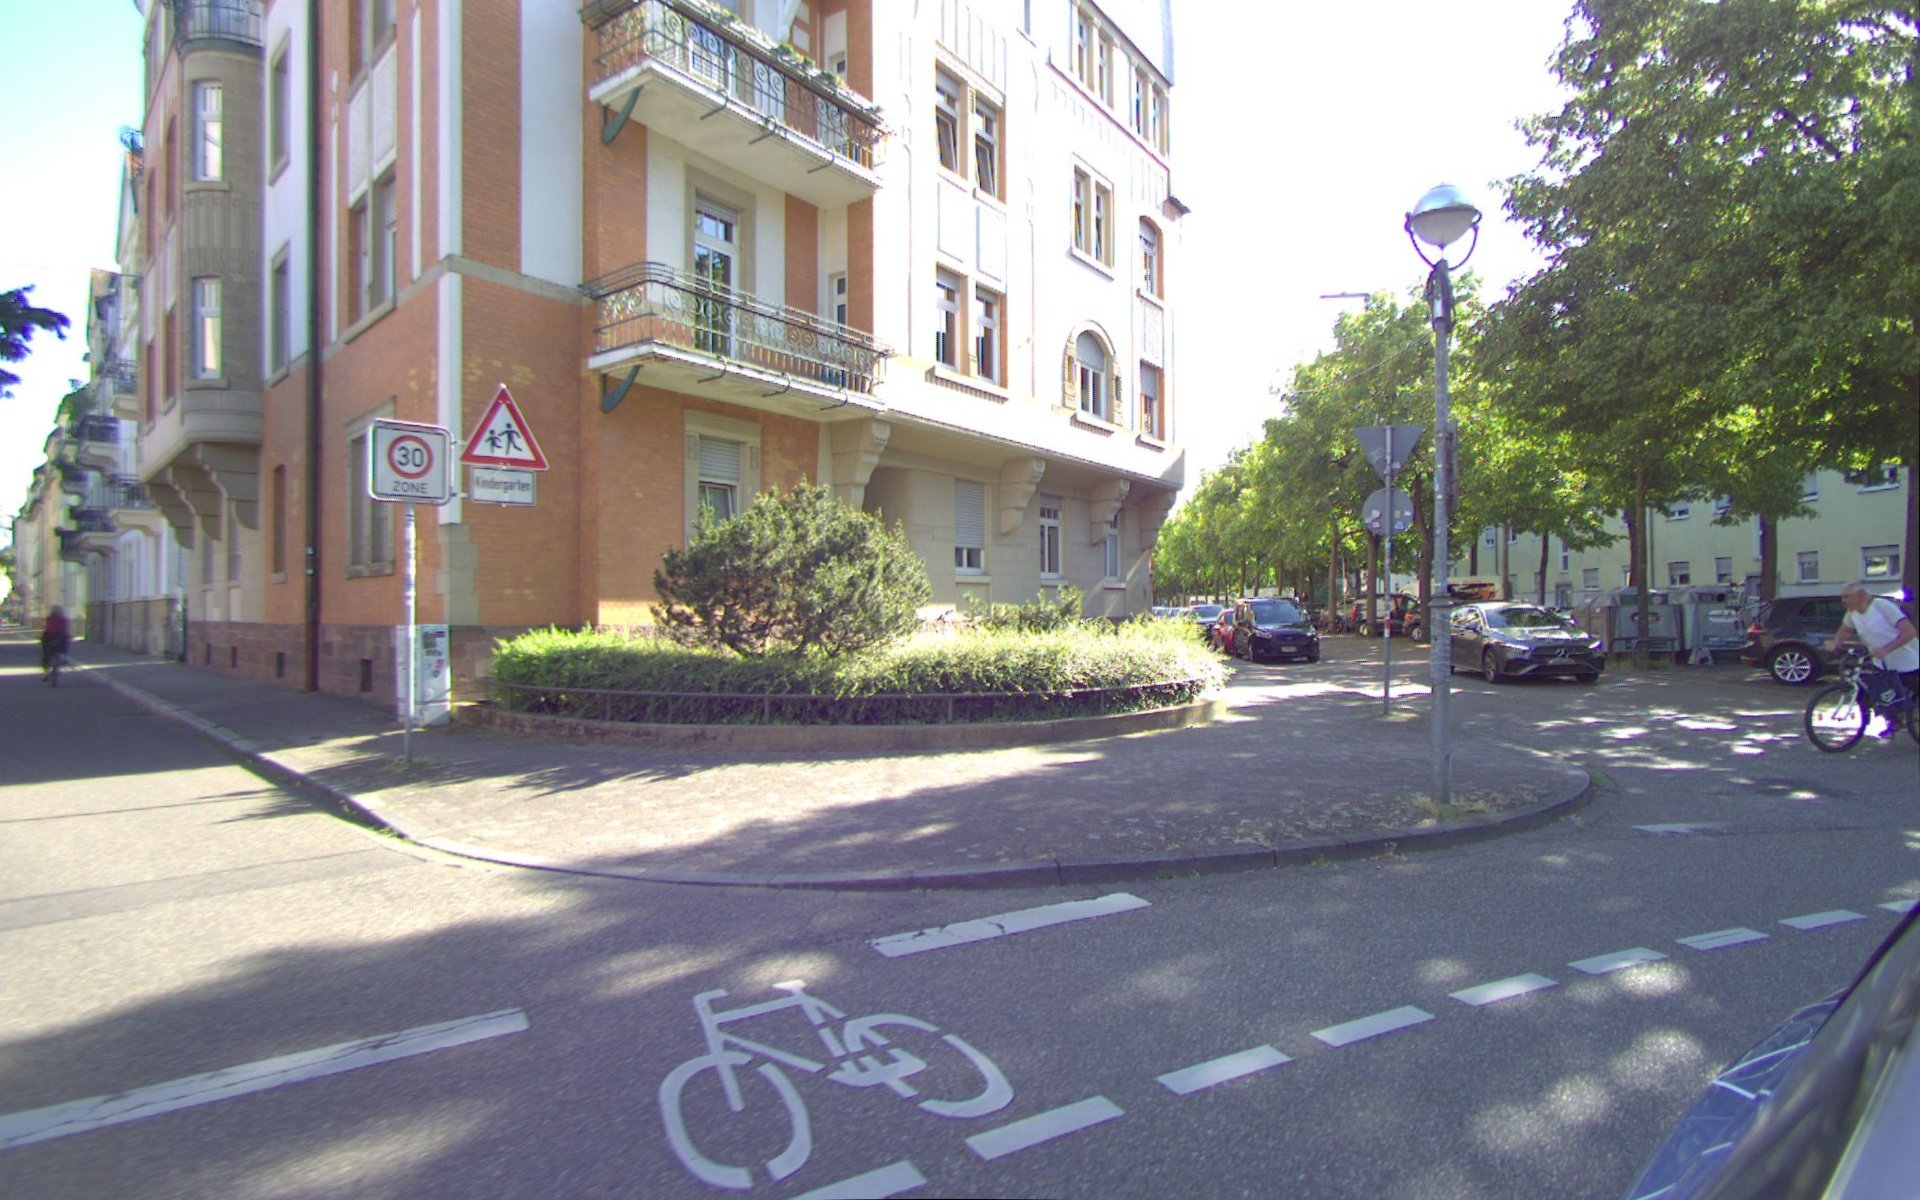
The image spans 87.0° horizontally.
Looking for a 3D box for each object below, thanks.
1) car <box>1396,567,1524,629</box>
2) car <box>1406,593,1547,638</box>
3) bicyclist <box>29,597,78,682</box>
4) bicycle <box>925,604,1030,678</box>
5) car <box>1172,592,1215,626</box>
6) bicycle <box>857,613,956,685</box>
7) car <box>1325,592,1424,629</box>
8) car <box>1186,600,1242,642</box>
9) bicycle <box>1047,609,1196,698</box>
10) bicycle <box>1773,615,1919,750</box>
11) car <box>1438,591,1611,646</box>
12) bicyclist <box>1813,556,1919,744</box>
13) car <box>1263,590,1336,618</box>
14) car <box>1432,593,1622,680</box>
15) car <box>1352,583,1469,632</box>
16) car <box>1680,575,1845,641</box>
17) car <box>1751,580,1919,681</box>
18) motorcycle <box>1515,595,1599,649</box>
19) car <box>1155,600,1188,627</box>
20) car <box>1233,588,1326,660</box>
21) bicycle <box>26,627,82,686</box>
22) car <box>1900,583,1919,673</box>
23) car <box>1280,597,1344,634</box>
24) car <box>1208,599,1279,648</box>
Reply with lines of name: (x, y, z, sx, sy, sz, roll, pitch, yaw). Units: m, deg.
car: (21.321, -0.056, 43.252, 4.575, 2.522, 1.957, -1, -1, 42)
car: (17.882, 0.520, 35.138, 1.793, 1.472, 3.989, 0, -1, -44)
bicyclist: (-18.517, 0.789, 20.676, 0.648, 1.682, 0.687, -1, -1, 43)
bicycle: (0.299, 0.697, 17.731, 1.786, 1.227, 0.588, 0, -1, 32)
car: (11.683, 0.463, 50.854, 1.768, 1.576, 4.197, -3, -1, 9)
bicycle: (-0.883, 0.759, 16.327, 1.665, 1.085, 0.493, 0, -1, 37)
car: (19.625, 0.489, 48.002, 1.793, 1.654, 3.989, 0, -1, -44)
car: (10.436, 0.839, 41.852, 1.768, 1.576, 4.197, -3, -1, 9)
bicycle: (2.216, 0.702, 13.977, 1.928, 1.135, 0.680, 0, -1, 33)
bicycle: (9.008, 0.763, 9.631, 1.836, 1.213, 0.764, -1, -1, 4)
car: (16.071, 0.507, 28.923, 1.793, 1.459, 3.989, 0, -1, -44)
bicyclist: (8.867, 0.458, 9.637, 0.797, 1.718, 0.764, -1, -1, 3)
car: (20.945, 0.269, 62.446, 3.970, 1.708, 1.802, -1, -1, 33)
car: (10.614, 0.642, 19.317, 1.769, 1.453, 4.197, -1, -1, 9)
car: (18.412, 0.313, 41.480, 1.793, 1.922, 3.989, 0, -1, -44)
car: (24.812, 0.265, 31.534, 1.706, 1.648, 4.605, 9, 0, 8)
car: (14.842, 0.454, 15.548, 1.729, 1.492, 3.992, 1, -1, -42)
motorcycle: (15.242, 0.554, 25.856, 1.763, 1.365, 0.729, 0, -1, -10)
car: (13.436, 0.870, 64.391, 1.768, 1.576, 4.197, -3, -1, 9)
car: (8.805, 0.652, 28.214, 1.768, 1.789, 4.197, -3, -1, 9)
bicycle: (-18.541, 1.130, 20.698, 1.866, 1.122, 0.687, -1, -1, 44)
car: (17.632, 0.454, 15.976, 1.730, 1.492, 3.991, 1, -1, -43)
car: (14.689, 0.640, 42.420, 1.769, 1.453, 4.197, -1, -1, 9)
car: (9.512, 0.776, 34.254, 1.768, 1.472, 4.197, -3, -1, 9)
